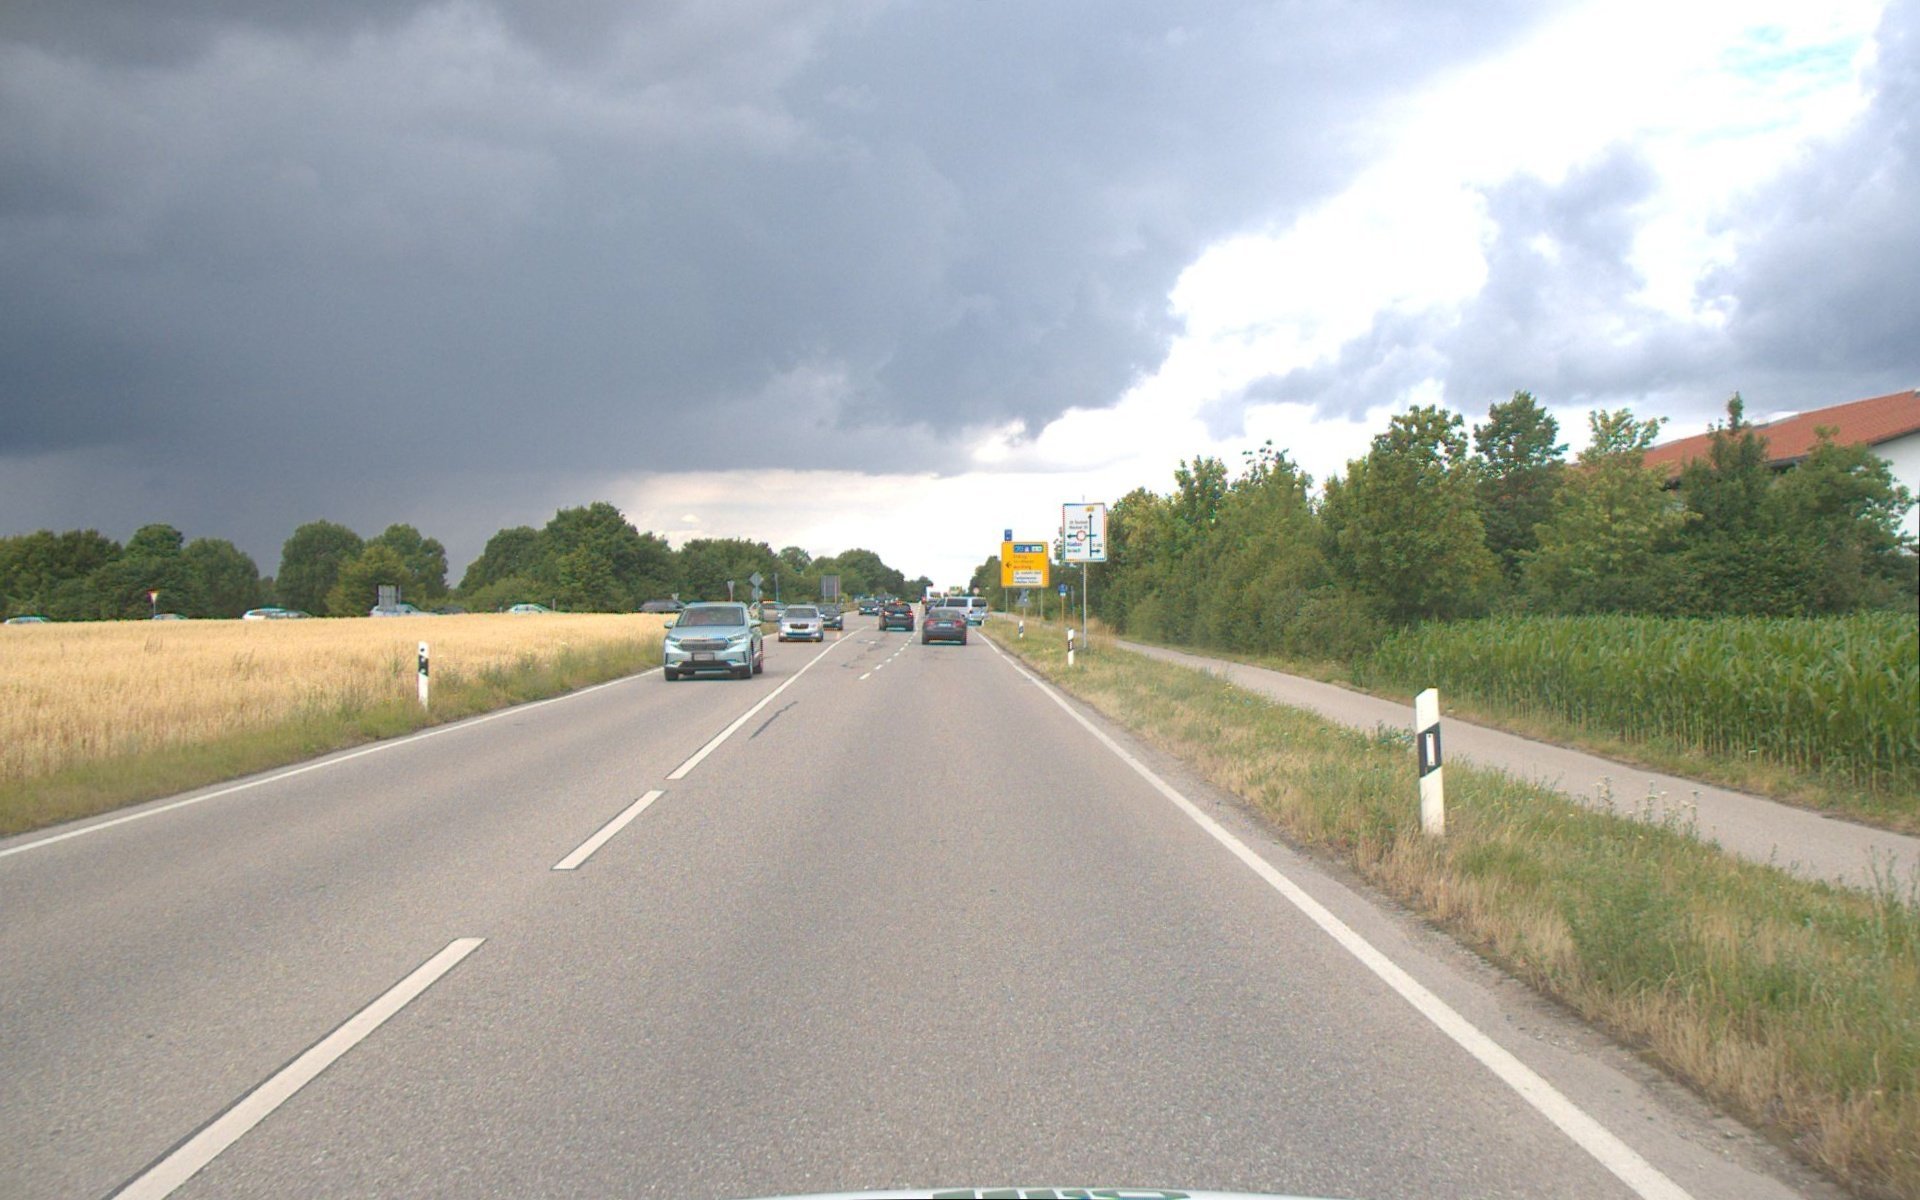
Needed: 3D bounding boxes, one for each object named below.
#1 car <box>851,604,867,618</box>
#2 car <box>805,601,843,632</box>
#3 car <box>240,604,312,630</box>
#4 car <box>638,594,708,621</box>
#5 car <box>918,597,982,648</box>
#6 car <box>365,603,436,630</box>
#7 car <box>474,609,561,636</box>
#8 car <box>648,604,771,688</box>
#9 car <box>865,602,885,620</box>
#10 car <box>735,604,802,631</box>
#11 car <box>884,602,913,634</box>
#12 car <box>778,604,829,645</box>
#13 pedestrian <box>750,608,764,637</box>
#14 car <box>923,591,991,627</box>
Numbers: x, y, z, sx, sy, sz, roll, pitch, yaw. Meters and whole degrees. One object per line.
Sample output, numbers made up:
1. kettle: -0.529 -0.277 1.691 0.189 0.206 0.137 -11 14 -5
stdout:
1. car: -11.578 1.287 190.583 1.612 1.618 3.999 -1 0 -1
2. car: -7.517 0.897 91.814 1.816 1.658 3.999 -1 0 -1
3. car: -45.505 1.134 110.026 3.986 1.678 1.867 -1 0 3
4. car: -18.725 0.512 108.112 4.326 1.678 1.501 -1 0 -5
5. car: -0.441 0.891 67.113 2.325 1.913 4.475 -2 0 -3
6. car: -37.054 1.074 109.556 3.986 1.678 1.867 -1 0 3
7. car: -29.252 1.504 109.435 5.197 1.678 1.867 -1 0 3
8. car: -5.389 0.941 36.196 2.023 1.608 4.764 -2 0 -1
9. car: -7.856 1.005 153.209 1.612 1.618 3.999 -1 0 -1
10. car: -12.619 1.137 108.912 4.327 1.678 1.500 -1 0 -6
11. car: -3.434 1.005 93.427 1.539 1.731 3.999 -1 0 -1
12. car: -6.443 0.987 68.599 1.731 1.629 4.929 -1 0 -1
13. pedestrian: -11.413 1.277 93.073 0.360 1.603 0.701 -1 0 34
14. car: -0.230 0.617 117.201 4.740 2.495 2.004 -1 0 -4
